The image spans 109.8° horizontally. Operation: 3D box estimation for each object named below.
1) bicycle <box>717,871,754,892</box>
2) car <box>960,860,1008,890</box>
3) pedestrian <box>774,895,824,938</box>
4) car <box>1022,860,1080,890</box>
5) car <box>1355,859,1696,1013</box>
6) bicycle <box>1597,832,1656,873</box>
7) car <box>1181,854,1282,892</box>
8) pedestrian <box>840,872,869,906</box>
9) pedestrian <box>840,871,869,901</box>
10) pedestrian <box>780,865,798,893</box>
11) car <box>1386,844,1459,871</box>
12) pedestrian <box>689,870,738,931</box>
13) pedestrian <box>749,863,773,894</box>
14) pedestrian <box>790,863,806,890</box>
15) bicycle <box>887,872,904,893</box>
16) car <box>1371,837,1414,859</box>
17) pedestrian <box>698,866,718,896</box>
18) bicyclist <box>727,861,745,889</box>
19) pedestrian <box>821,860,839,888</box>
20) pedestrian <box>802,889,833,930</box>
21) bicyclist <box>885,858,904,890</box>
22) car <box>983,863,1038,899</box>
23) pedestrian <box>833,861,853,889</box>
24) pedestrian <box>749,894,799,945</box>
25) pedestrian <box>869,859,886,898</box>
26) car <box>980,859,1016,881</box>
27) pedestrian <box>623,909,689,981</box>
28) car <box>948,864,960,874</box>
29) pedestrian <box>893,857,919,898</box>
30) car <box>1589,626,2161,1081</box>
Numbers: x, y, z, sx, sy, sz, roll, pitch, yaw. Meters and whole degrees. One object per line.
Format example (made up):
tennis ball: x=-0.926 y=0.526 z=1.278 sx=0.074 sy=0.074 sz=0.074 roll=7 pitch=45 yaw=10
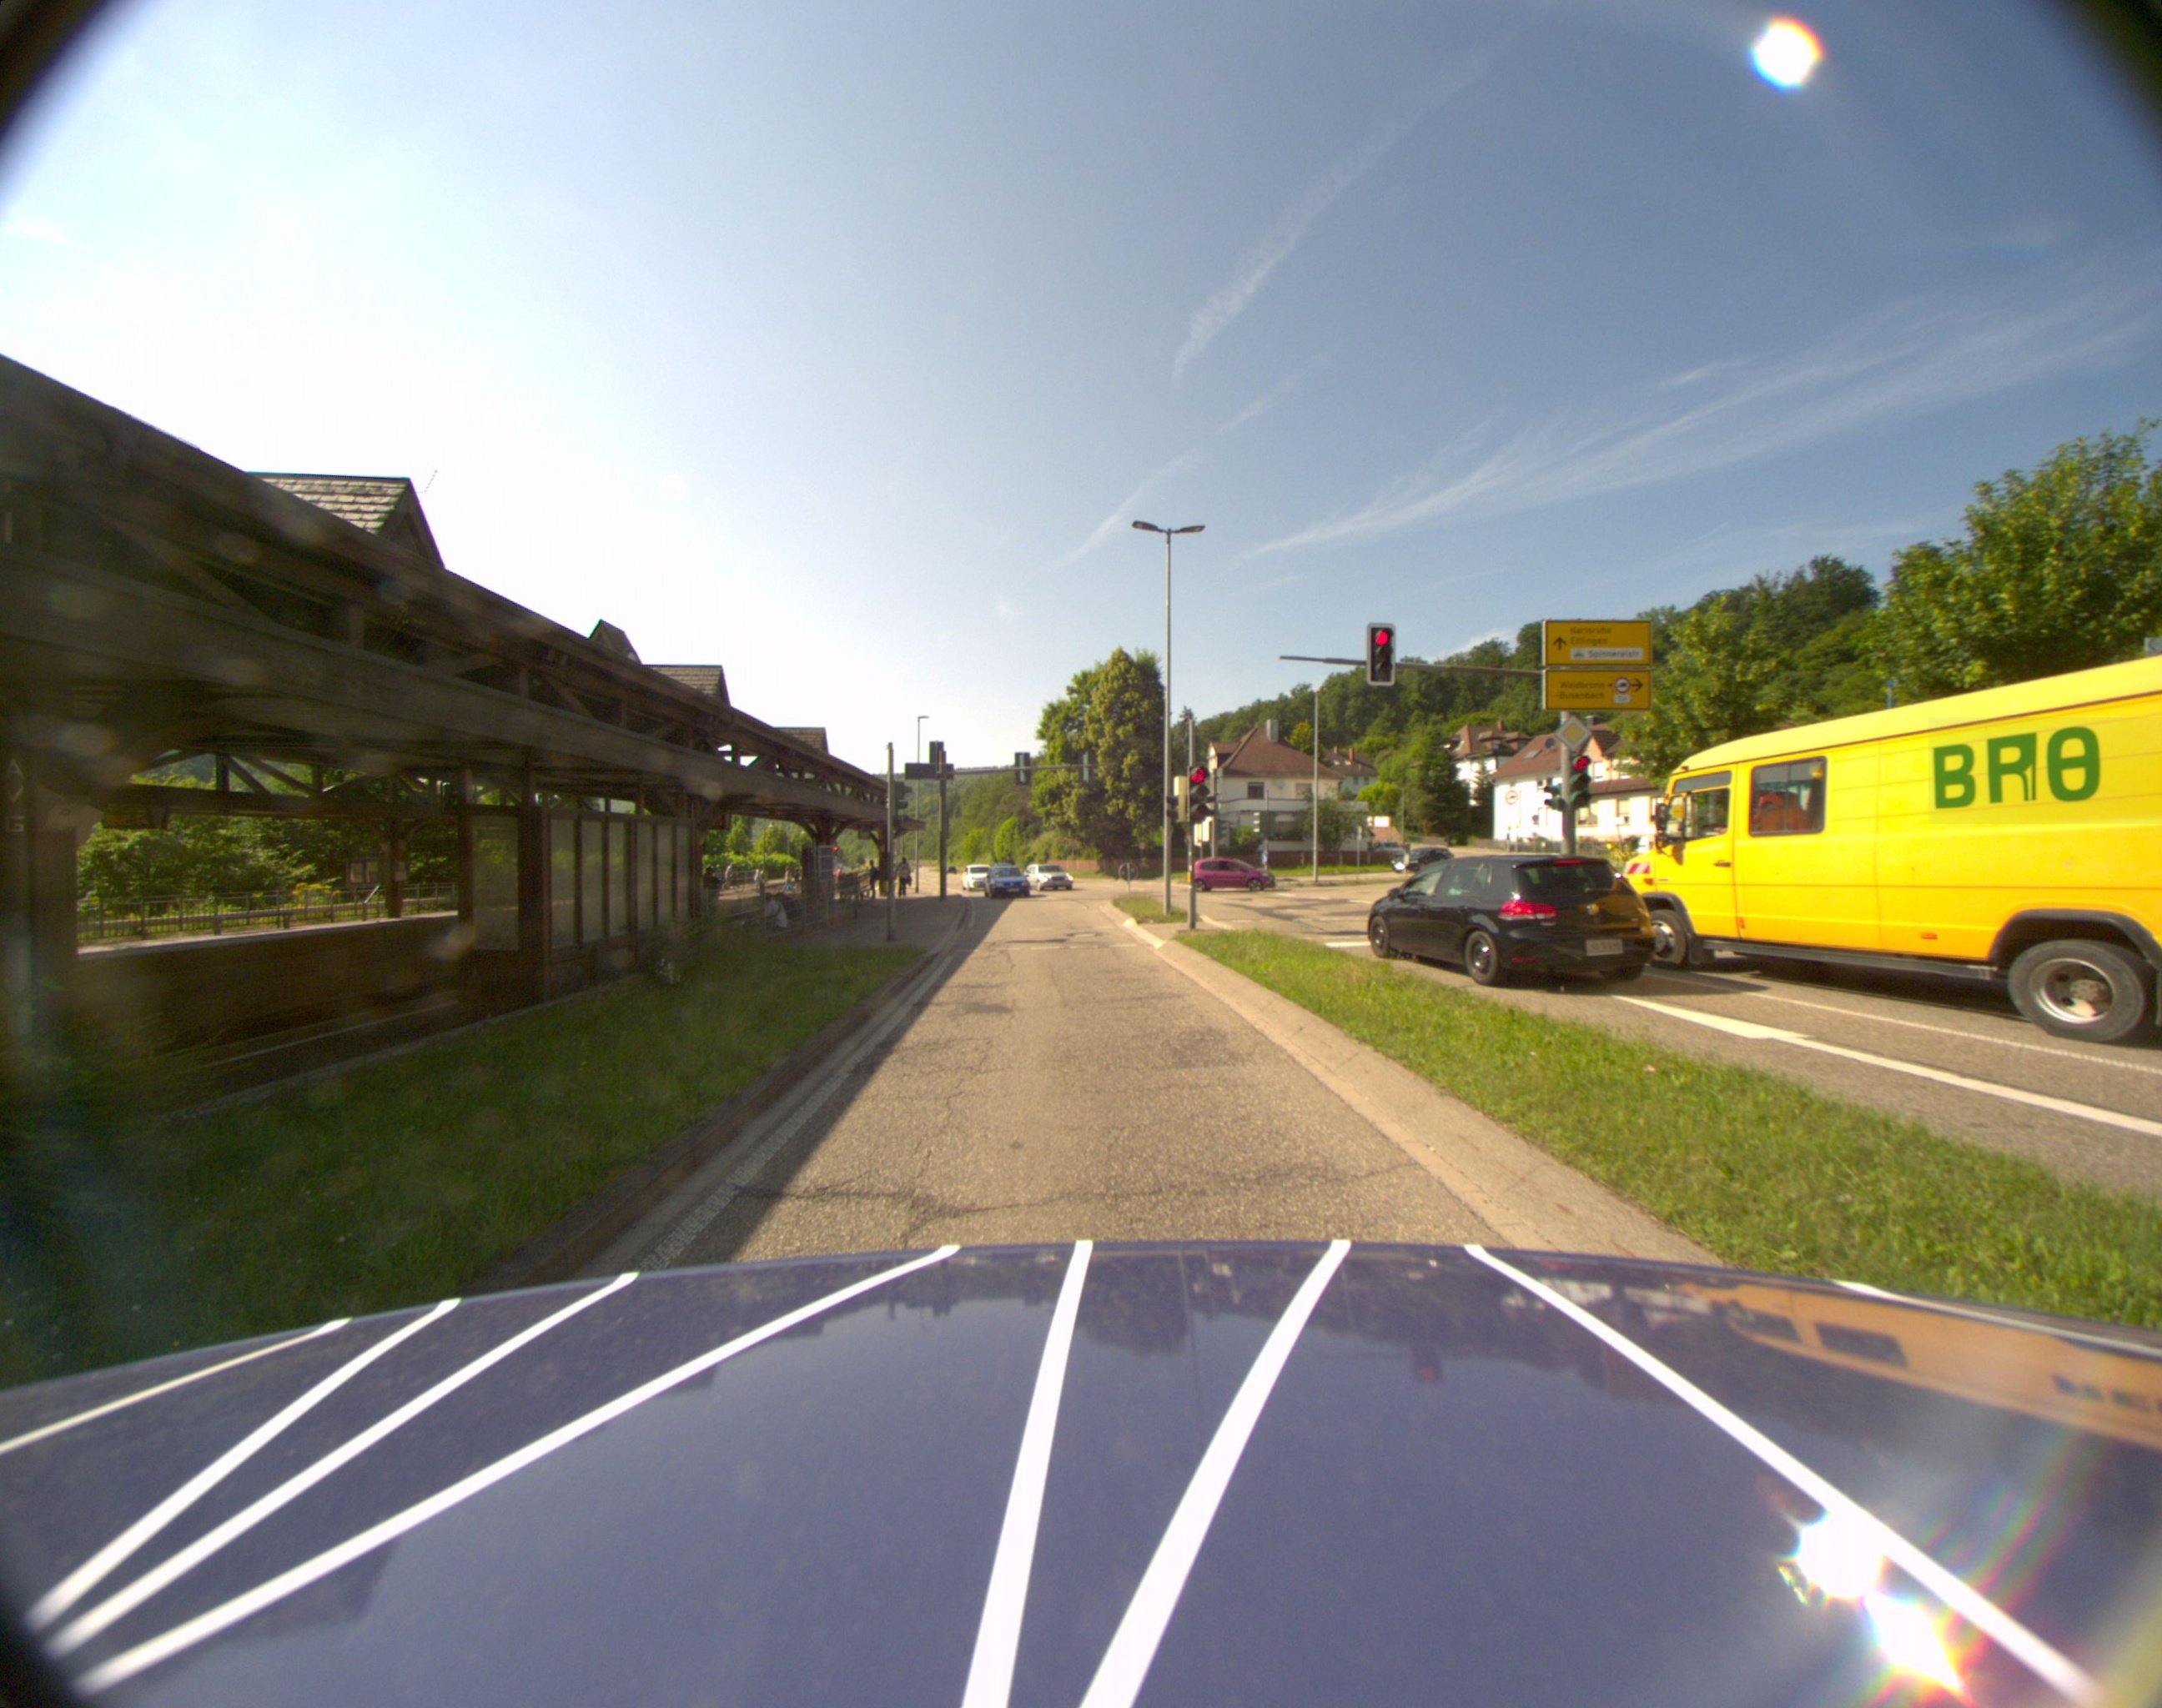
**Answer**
bicycle: x=-21.450 y=1.706 z=47.155 sx=2.023 sy=1.201 sz=0.708 roll=-3 pitch=-1 yaw=-27
car: x=-5.666 y=1.202 z=44.106 sx=2.001 sy=1.575 sz=3.994 roll=-3 pitch=0 yaw=-17
pedestrian: x=-6.394 y=1.408 z=17.262 sx=0.847 sy=0.869 sz=0.807 roll=-3 pitch=-1 yaw=-7
car: x=-1.717 y=1.163 z=41.770 sx=1.982 sy=1.495 sz=4.745 roll=-2 pitch=-1 yaw=-17
car: x=5.108 y=0.813 z=9.486 sx=1.750 sy=1.454 sz=4.042 roll=-1 pitch=0 yaw=-3
bicycle: x=18.302 y=-0.035 z=25.527 sx=0.620 sy=1.247 sz=1.758 roll=-6 pitch=-2 yaw=2
car: x=6.501 y=0.829 z=32.899 sx=3.945 sy=1.525 sz=1.665 roll=-2 pitch=0 yaw=25
pedestrian: x=-8.724 y=1.344 z=29.274 sx=0.994 sy=1.228 sz=0.596 roll=-3 pitch=-1 yaw=-14
pedestrian: x=-9.076 y=1.263 z=30.462 sx=1.010 sy=1.153 sz=0.947 roll=-2 pitch=1 yaw=-13
pedestrian: x=-17.689 y=1.509 z=46.072 sx=0.905 sy=1.674 sz=0.821 roll=-3 pitch=-1 yaw=-23
car: x=21.333 y=0.197 z=47.394 sx=4.759 sy=1.475 sz=1.976 roll=-2 pitch=-1 yaw=-36
pedestrian: x=-9.510 y=1.191 z=19.712 sx=0.863 sy=1.538 sz=0.922 roll=-1 pitch=-1 yaw=-5
pedestrian: x=-19.542 y=1.469 z=46.388 sx=0.990 sy=1.831 sz=1.073 roll=-2 pitch=-1 yaw=0
pedestrian: x=-17.715 y=1.419 z=47.603 sx=0.558 sy=1.674 sz=0.685 roll=-3 pitch=-1 yaw=21
bicycle: x=-9.564 y=1.453 z=39.169 sx=0.604 sy=1.049 sz=1.811 roll=-3 pitch=0 yaw=-21
car: x=25.833 y=-0.506 z=63.151 sx=1.939 sy=1.627 sz=4.001 roll=-3 pitch=-1 yaw=2
pedestrian: x=-21.841 y=1.559 z=44.485 sx=0.905 sy=1.674 sz=1.123 roll=-3 pitch=-1 yaw=-23
bicyclist: x=-21.419 y=1.286 z=47.136 sx=0.905 sy=1.674 sz=0.821 roll=-3 pitch=-1 yaw=-27
pedestrian: x=-15.606 y=1.223 z=47.239 sx=0.868 sy=1.674 sz=0.822 roll=-3 pitch=-1 yaw=-7
pedestrian: x=-6.543 y=1.375 z=18.890 sx=0.619 sy=0.960 sz=0.406 roll=-3 pitch=-1 yaw=-7
bicyclist: x=-9.610 y=1.019 z=39.154 sx=0.788 sy=1.559 sz=0.945 roll=-3 pitch=1 yaw=-19
car: x=-3.257 y=1.176 z=34.447 sx=1.867 sy=1.474 sz=4.297 roll=-1 pitch=0 yaw=-13
pedestrian: x=-14.650 y=1.274 z=46.784 sx=0.824 sy=1.674 sz=0.901 roll=-3 pitch=-1 yaw=-40
pedestrian: x=-6.420 y=1.357 z=15.912 sx=0.744 sy=0.976 sz=0.769 roll=-3 pitch=-1 yaw=-7
pedestrian: x=-8.881 y=1.053 z=33.153 sx=0.659 sy=1.682 sz=0.738 roll=-1 pitch=0 yaw=-13
car: x=-6.358 y=1.216 z=57.698 sx=1.982 sy=1.495 sz=3.982 roll=-2 pitch=-1 yaw=-17
pedestrian: x=-7.234 y=1.533 z=12.957 sx=0.744 sy=1.110 sz=0.667 roll=-3 pitch=-1 yaw=-7
car: x=-22.234 y=2.626 z=133.158 sx=2.000 sy=1.739 sz=3.998 roll=-3 pitch=-1 yaw=-9
pedestrian: x=-7.898 y=1.057 z=34.335 sx=0.916 sy=1.726 sz=1.251 roll=-3 pitch=-1 yaw=-6
car: x=8.230 y=-0.049 z=6.977 sx=2.474 sy=2.993 sz=6.464 roll=-3 pitch=0 yaw=-3
